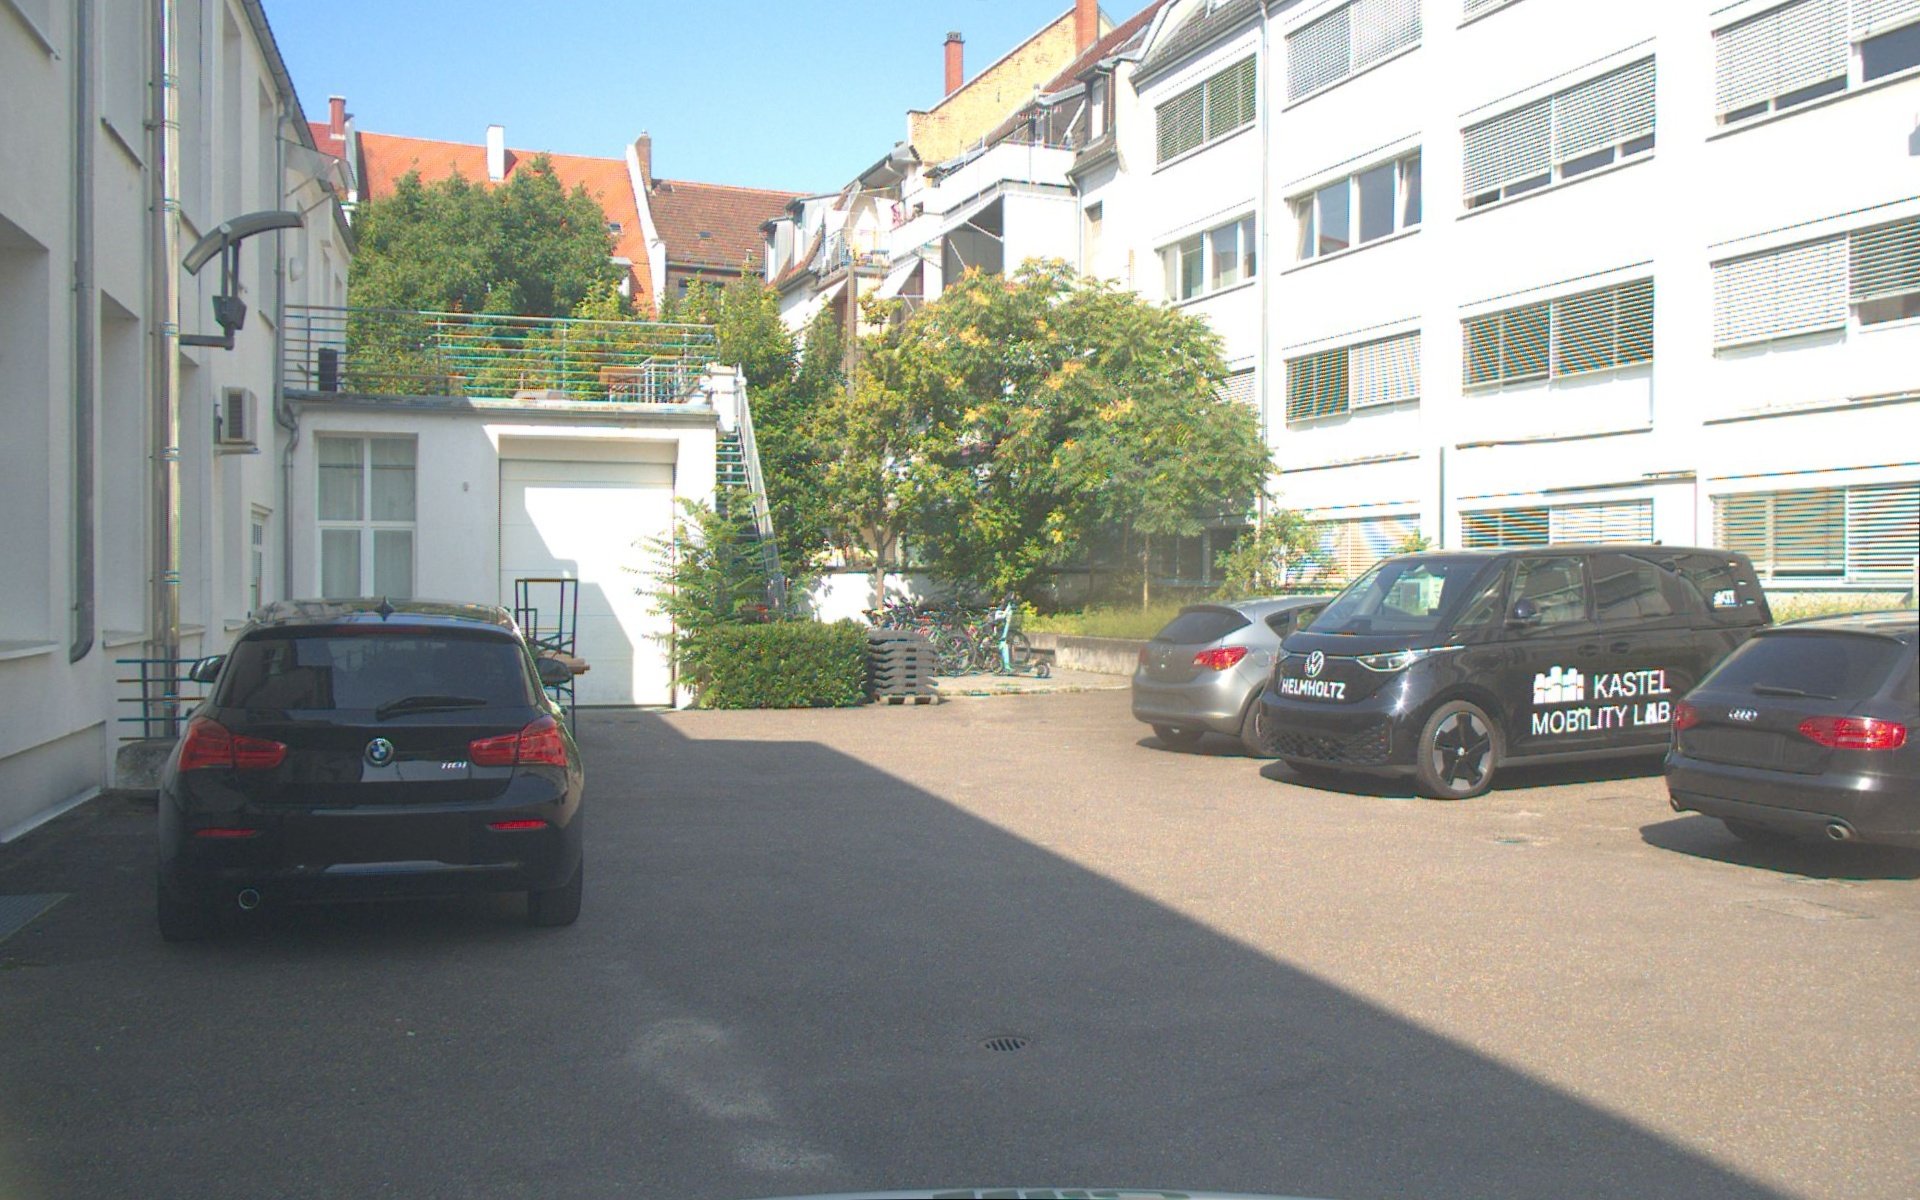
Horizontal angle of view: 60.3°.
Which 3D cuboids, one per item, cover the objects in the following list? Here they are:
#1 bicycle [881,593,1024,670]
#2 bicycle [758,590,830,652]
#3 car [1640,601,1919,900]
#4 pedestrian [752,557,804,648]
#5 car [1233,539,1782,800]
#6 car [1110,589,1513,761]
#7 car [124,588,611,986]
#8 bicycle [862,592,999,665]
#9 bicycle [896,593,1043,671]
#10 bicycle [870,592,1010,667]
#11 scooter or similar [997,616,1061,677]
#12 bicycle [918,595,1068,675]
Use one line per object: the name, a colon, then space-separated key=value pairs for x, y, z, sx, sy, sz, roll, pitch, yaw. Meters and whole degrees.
bicycle: x=-0.129 y=0.533 z=28.044 sx=2.372 sy=1.268 sz=0.524 roll=1 pitch=0 yaw=-17
bicycle: x=-3.338 y=0.403 z=33.394 sx=0.478 sy=1.163 sz=1.993 roll=0 pitch=2 yaw=25
car: x=6.320 y=0.750 z=9.819 sx=4.167 sy=1.462 sz=1.682 roll=-1 pitch=1 yaw=-19
pedestrian: x=-3.665 y=0.038 z=33.301 sx=0.841 sy=1.802 sz=0.611 roll=1 pitch=0 yaw=25
car: x=4.575 y=0.465 z=13.775 sx=4.282 sy=1.891 sz=1.899 roll=-1 pitch=1 yaw=-26
car: x=3.540 y=0.663 z=16.491 sx=3.855 sy=1.491 sz=1.646 roll=-1 pitch=1 yaw=-30
car: x=-2.911 y=0.688 z=8.371 sx=1.765 sy=1.453 sz=4.114 roll=1 pitch=0 yaw=-19
bicycle: x=-0.519 y=0.504 z=29.288 sx=2.372 sy=1.268 sz=0.524 roll=1 pitch=0 yaw=-17
bicycle: x=0.167 y=0.530 z=27.282 sx=2.372 sy=1.268 sz=0.524 roll=1 pitch=0 yaw=-17
bicycle: x=-0.340 y=0.511 z=28.660 sx=2.372 sy=1.268 sz=0.524 roll=1 pitch=0 yaw=-17
scooter or similar: x=1.099 y=0.732 z=26.482 sx=0.979 sy=0.940 sz=0.359 roll=1 pitch=0 yaw=36
bicycle: x=0.537 y=0.565 z=26.700 sx=2.372 sy=1.268 sz=0.524 roll=1 pitch=0 yaw=-17
